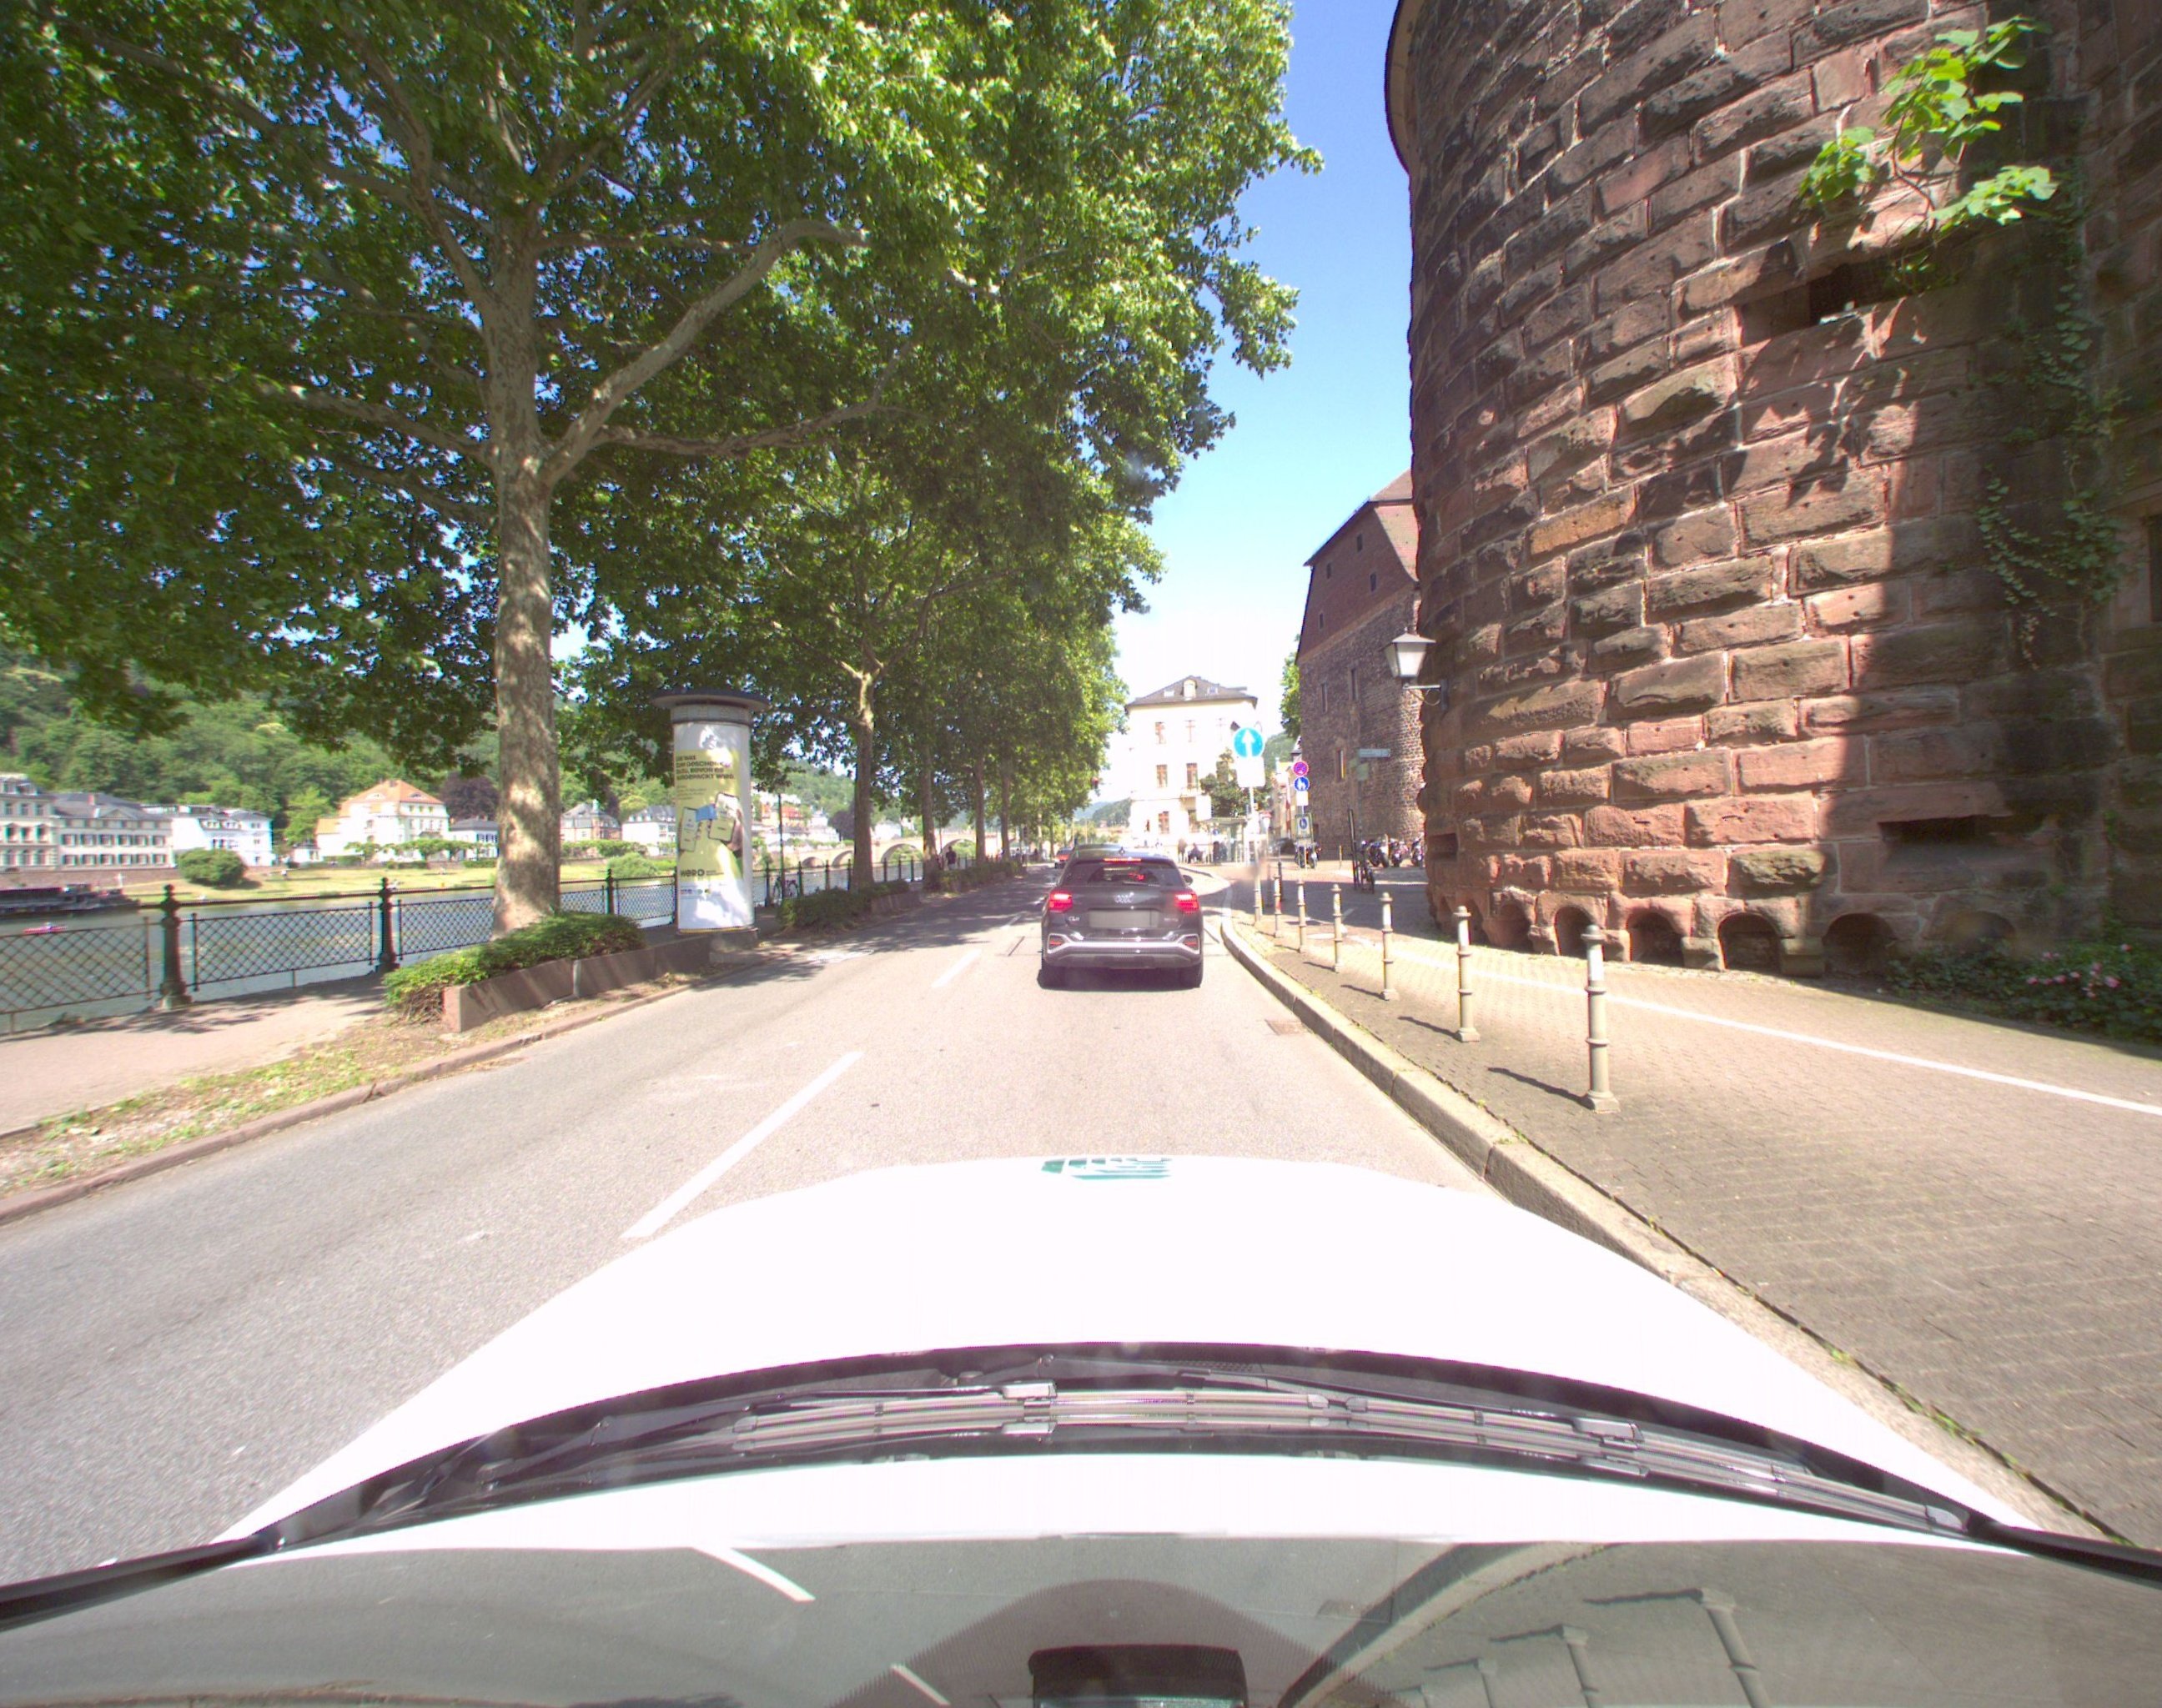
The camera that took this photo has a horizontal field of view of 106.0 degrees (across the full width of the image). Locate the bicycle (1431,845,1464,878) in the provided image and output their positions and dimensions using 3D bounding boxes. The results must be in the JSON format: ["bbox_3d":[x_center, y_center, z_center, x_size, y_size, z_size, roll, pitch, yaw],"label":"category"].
[{"bbox_3d":[11.847,0.240,26.376,0.493,1.030,2.056,0,0,10],"label":"bicycle"}]

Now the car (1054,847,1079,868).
[{"bbox_3d":[-1.153,0.253,66.239,1.608,1.523,3.480,-3,0,4],"label":"car"}]

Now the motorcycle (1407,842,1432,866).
[{"bbox_3d":[13.871,0.001,33.398,0.456,0.973,1.467,0,0,2],"label":"motorcycle"}]

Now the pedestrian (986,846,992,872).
[{"bbox_3d":[-7.016,0.378,62.144,0.499,1.958,0.438,0,0,-5],"label":"pedestrian"}]

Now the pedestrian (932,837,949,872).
[{"bbox_3d":[-6.945,0.020,40.362,0.643,1.717,0.665,-3,0,-1],"label":"pedestrian"}]

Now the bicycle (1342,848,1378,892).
[{"bbox_3d":[6.928,0.384,20.275,0.493,1.030,2.056,-2,0,10],"label":"bicycle"}]

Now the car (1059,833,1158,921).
[{"bbox_3d":[0.588,0.425,17.223,1.794,1.562,3.718,-3,0,2],"label":"car"}]

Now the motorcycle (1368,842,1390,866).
[{"bbox_3d":[12.122,0.000,33.154,0.434,0.973,1.359,0,0,2],"label":"motorcycle"}]

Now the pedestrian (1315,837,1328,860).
[{"bbox_3d":[15.783,-0.378,53.459,0.655,1.517,0.627,0,0,3],"label":"pedestrian"}]

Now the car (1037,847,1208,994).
[{"bbox_3d":[0.457,0.663,10.147,1.742,1.494,3.629,0,0,1],"label":"car"}]

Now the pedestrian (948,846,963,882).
[{"bbox_3d":[-6.239,0.477,40.400,0.562,1.741,0.665,-3,0,-1],"label":"pedestrian"}]

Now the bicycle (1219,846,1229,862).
[{"bbox_3d":[9.021,0.002,51.459,0.449,0.974,1.400,0,0,2],"label":"bicycle"}]

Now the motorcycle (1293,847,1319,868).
[{"bbox_3d":[9.256,0.132,33.578,0.481,0.818,2.281,-3,0,2],"label":"motorcycle"}]

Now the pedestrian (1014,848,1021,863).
[{"bbox_3d":[-5.464,0.142,70.019,0.588,1.278,0.525,0,0,2],"label":"pedestrian"}]

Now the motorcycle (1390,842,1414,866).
[{"bbox_3d":[12.957,0.001,32.891,0.456,0.973,1.467,0,0,2],"label":"motorcycle"}]

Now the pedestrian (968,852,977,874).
[{"bbox_3d":[-7.905,0.654,59.352,0.496,1.537,0.678,-3,0,-5],"label":"pedestrian"}]

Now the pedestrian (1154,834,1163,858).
[{"bbox_3d":[5.050,-0.502,52.926,0.555,1.557,0.660,0,0,3],"label":"pedestrian"}]

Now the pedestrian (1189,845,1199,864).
[{"bbox_3d":[7.155,0.038,51.513,0.544,1.201,0.523,0,0,3],"label":"pedestrian"}]

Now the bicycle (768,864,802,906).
[{"bbox_3d":[-8.756,0.885,24.108,0.356,1.162,1.825,0,0,-1],"label":"bicycle"}]

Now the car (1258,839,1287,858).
[{"bbox_3d":[17.749,-0.480,75.644,1.986,1.716,4.002,0,0,2],"label":"car"}]

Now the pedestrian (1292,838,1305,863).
[{"bbox_3d":[13.380,-0.206,50.116,0.655,1.493,0.548,0,0,3],"label":"pedestrian"}]

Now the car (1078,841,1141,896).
[{"bbox_3d":[0.933,0.414,26.002,1.794,1.523,3.718,-3,0,2],"label":"car"}]

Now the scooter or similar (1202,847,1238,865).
[{"bbox_3d":[7.342,0.093,43.110,1.838,0.963,0.429,0,0,1],"label":"scooter or similar"}]

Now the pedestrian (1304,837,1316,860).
[{"bbox_3d":[15.038,-0.379,53.493,0.655,1.517,0.548,0,0,3],"label":"pedestrian"}]

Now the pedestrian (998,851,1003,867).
[{"bbox_3d":[-7.313,0.483,73.627,0.407,1.425,0.457,0,0,0],"label":"pedestrian"}]

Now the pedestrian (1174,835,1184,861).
[{"bbox_3d":[6.169,-0.361,51.297,0.555,1.633,0.660,0,0,3],"label":"pedestrian"}]

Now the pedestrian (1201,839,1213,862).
[{"bbox_3d":[8.580,-0.240,55.653,0.744,1.557,0.589,0,0,2],"label":"pedestrian"}]
